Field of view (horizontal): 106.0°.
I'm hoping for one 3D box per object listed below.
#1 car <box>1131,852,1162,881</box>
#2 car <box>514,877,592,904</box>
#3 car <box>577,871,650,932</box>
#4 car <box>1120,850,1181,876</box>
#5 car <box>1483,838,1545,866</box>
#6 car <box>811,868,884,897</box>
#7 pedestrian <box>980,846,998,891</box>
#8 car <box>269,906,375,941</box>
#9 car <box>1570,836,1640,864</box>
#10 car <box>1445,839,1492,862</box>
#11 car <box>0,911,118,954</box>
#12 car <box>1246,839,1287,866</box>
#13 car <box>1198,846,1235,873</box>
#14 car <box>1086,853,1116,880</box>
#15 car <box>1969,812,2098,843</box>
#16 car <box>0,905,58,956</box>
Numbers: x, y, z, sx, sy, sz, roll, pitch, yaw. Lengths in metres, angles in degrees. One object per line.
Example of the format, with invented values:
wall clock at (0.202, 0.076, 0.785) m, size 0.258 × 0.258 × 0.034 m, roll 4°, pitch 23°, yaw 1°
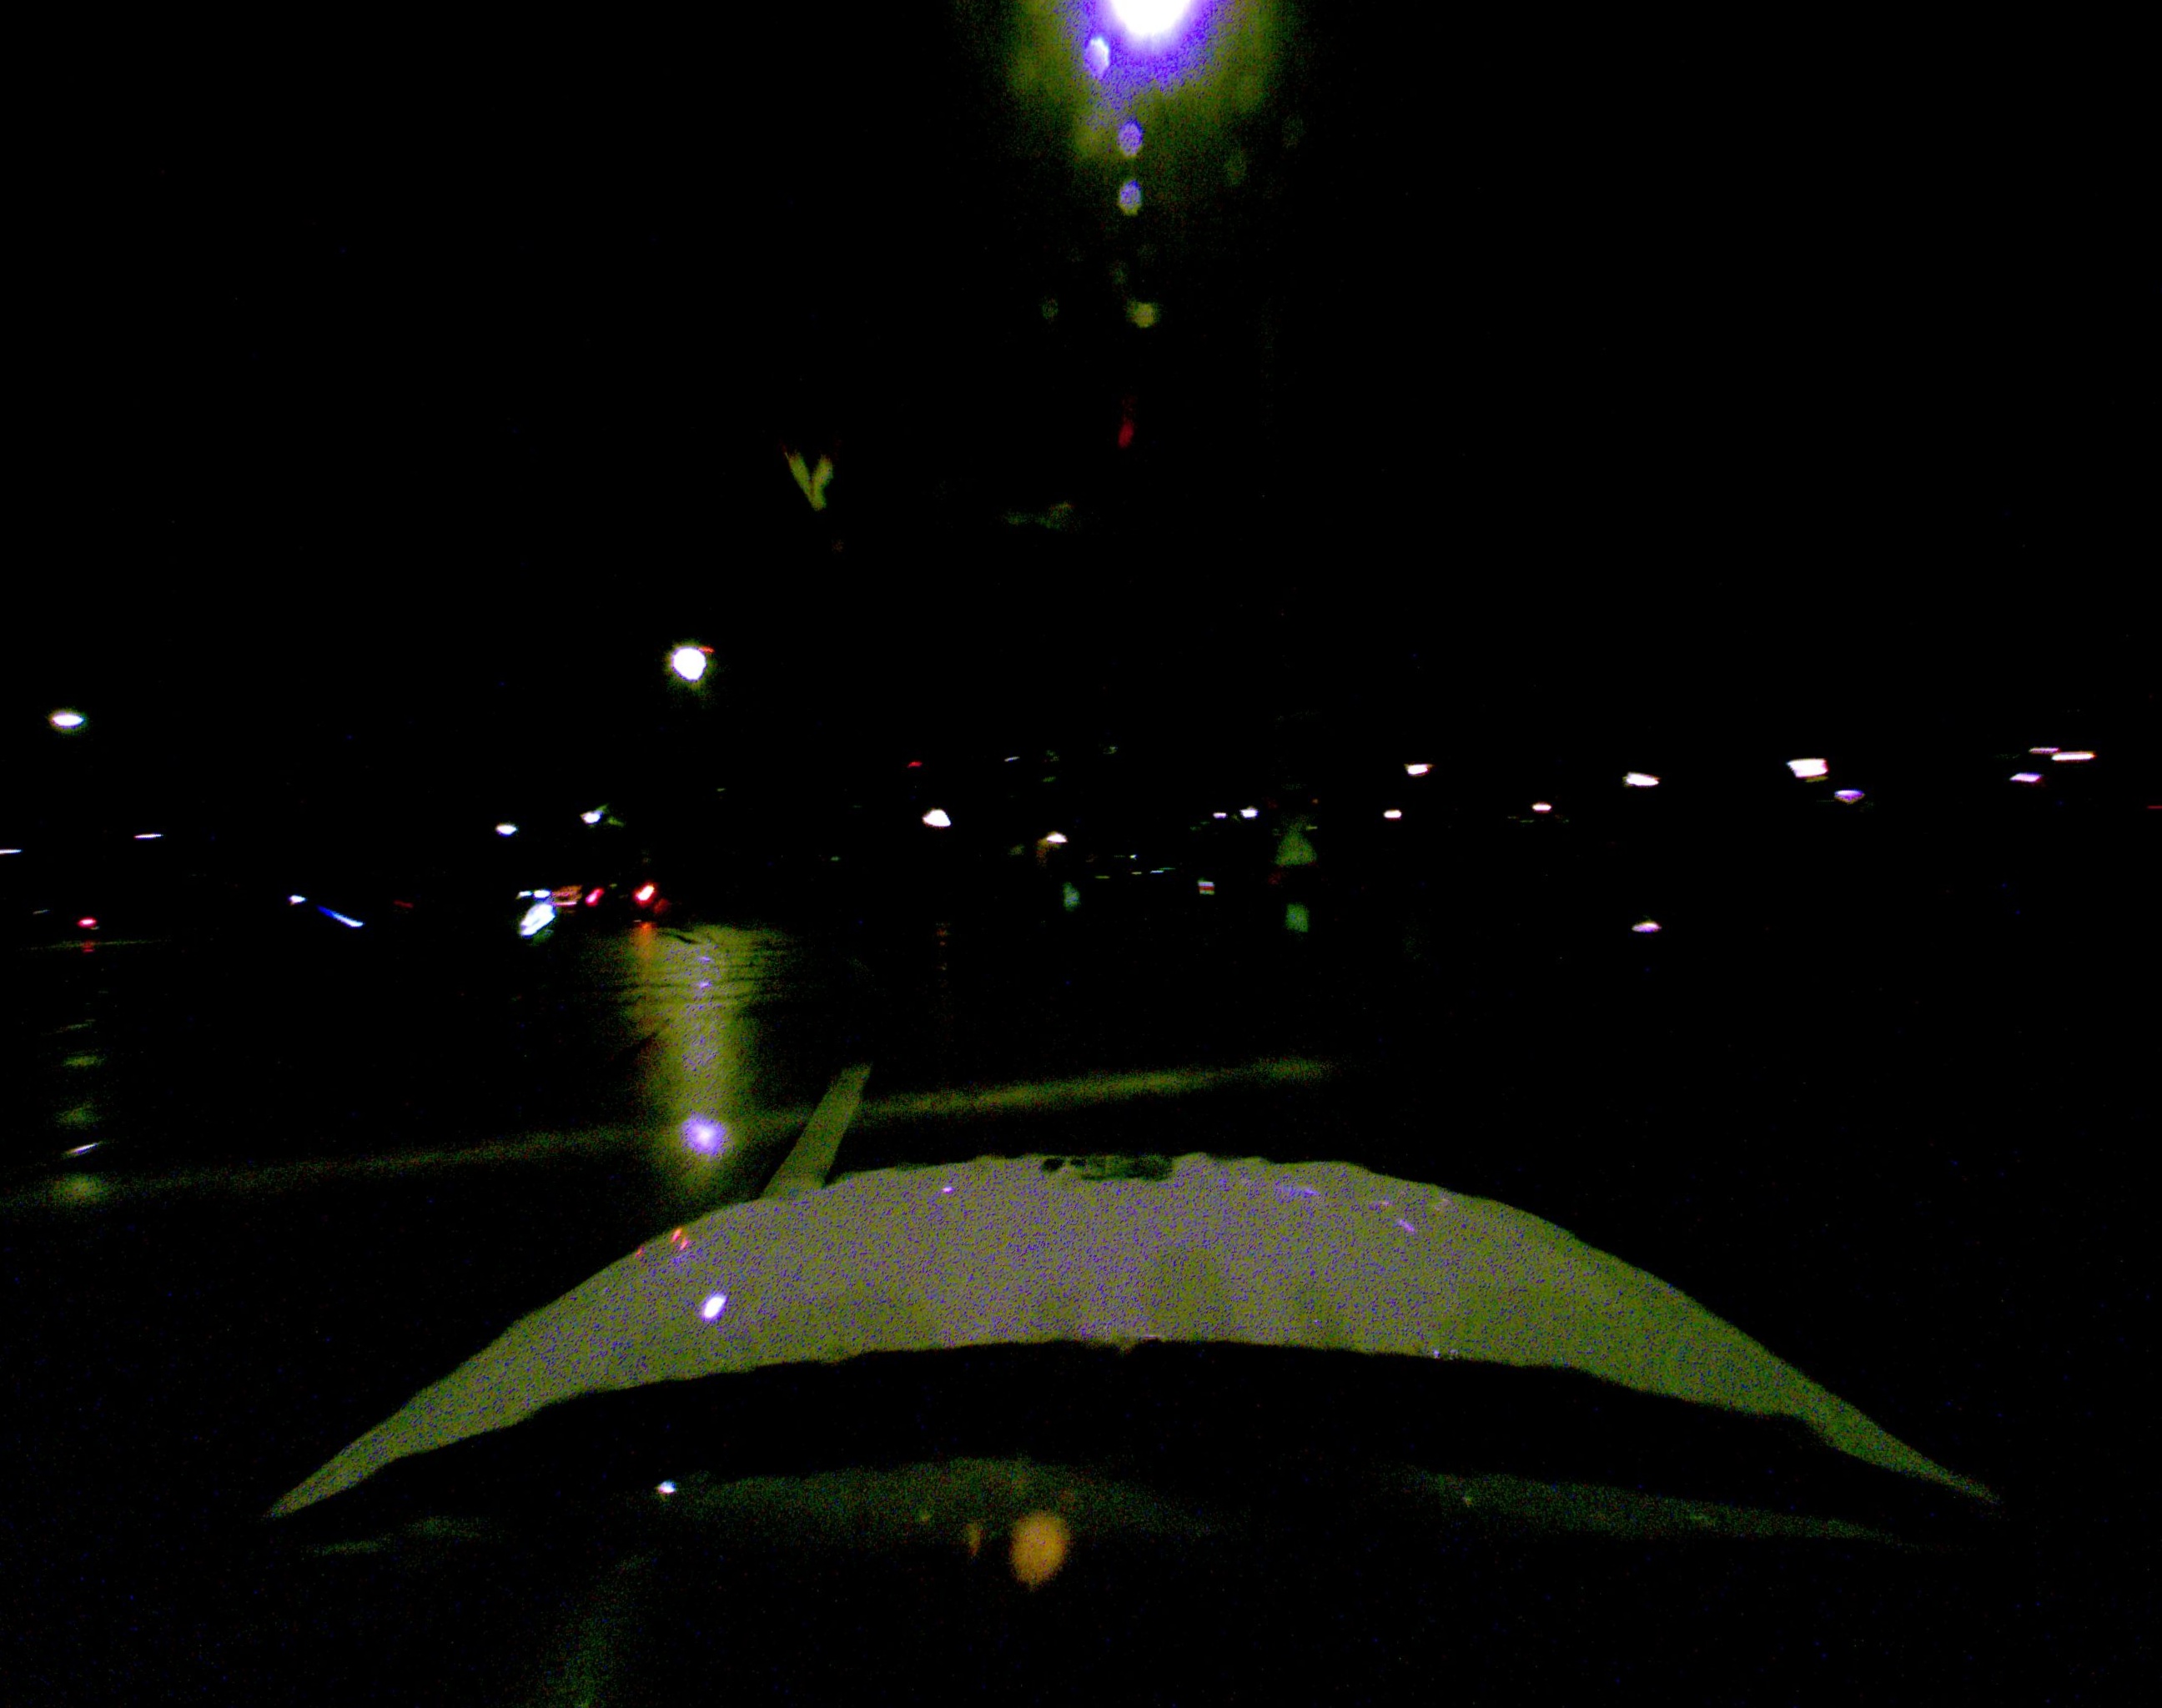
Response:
car at (3.888, 0.769, 48.848) m, size 1.709 × 1.497 × 3.913 m, roll -3°, pitch -4°, yaw 3°
car at (-38.785, 2.666, 60.003) m, size 1.979 × 1.736 × 4.638 m, roll -2°, pitch -1°, yaw 15°
car at (-17.275, 1.678, 30.002) m, size 2.008 × 2.014 × 4.509 m, roll -1°, pitch -1°, yaw -34°
car at (4.714, 0.609, 55.137) m, size 4.035 × 1.682 × 1.794 m, roll -2°, pitch -1°, yaw 4°
car at (25.517, -0.073, 48.106) m, size 1.709 × 1.536 × 3.915 m, roll -2°, pitch -1°, yaw 3°
car at (-14.782, 1.772, 51.670) m, size 3.961 × 1.684 × 1.925 m, roll -2°, pitch -1°, yaw 11°
pedestrian at (-3.995, 0.630, 35.491) m, size 0.653 × 1.902 × 0.725 m, roll -1°, pitch -1°, yaw -14°
car at (-42.597, 3.882, 45.800) m, size 1.842 × 1.640 × 3.911 m, roll -2°, pitch -1°, yaw 21°
car at (30.628, -0.195, 47.729) m, size 1.709 × 1.536 × 3.915 m, roll -2°, pitch -1°, yaw 3°
car at (28.272, -0.240, 59.538) m, size 1.709 × 1.536 × 3.915 m, roll -2°, pitch -1°, yaw 3°
car at (-45.771, 3.442, 35.996) m, size 1.575 × 1.584 × 4.026 m, roll -2°, pitch -1°, yaw 37°
car at (11.014, -0.066, 48.648) m, size 1.709 × 1.536 × 3.915 m, roll -2°, pitch -1°, yaw 3°
car at (8.092, 0.331, 48.884) m, size 1.709 × 1.497 × 3.915 m, roll -2°, pitch -1°, yaw 3°
car at (1.245, 0.760, 49.461) m, size 1.709 × 1.497 × 3.915 m, roll -2°, pitch -1°, yaw 3°
car at (54.511, -1.472, 46.772) m, size 1.709 × 1.536 × 4.999 m, roll -2°, pitch -1°, yaw 3°
car at (-37.174, 2.612, 27.278) m, size 3.604 × 1.579 × 1.737 m, roll -2°, pitch -1°, yaw 0°
